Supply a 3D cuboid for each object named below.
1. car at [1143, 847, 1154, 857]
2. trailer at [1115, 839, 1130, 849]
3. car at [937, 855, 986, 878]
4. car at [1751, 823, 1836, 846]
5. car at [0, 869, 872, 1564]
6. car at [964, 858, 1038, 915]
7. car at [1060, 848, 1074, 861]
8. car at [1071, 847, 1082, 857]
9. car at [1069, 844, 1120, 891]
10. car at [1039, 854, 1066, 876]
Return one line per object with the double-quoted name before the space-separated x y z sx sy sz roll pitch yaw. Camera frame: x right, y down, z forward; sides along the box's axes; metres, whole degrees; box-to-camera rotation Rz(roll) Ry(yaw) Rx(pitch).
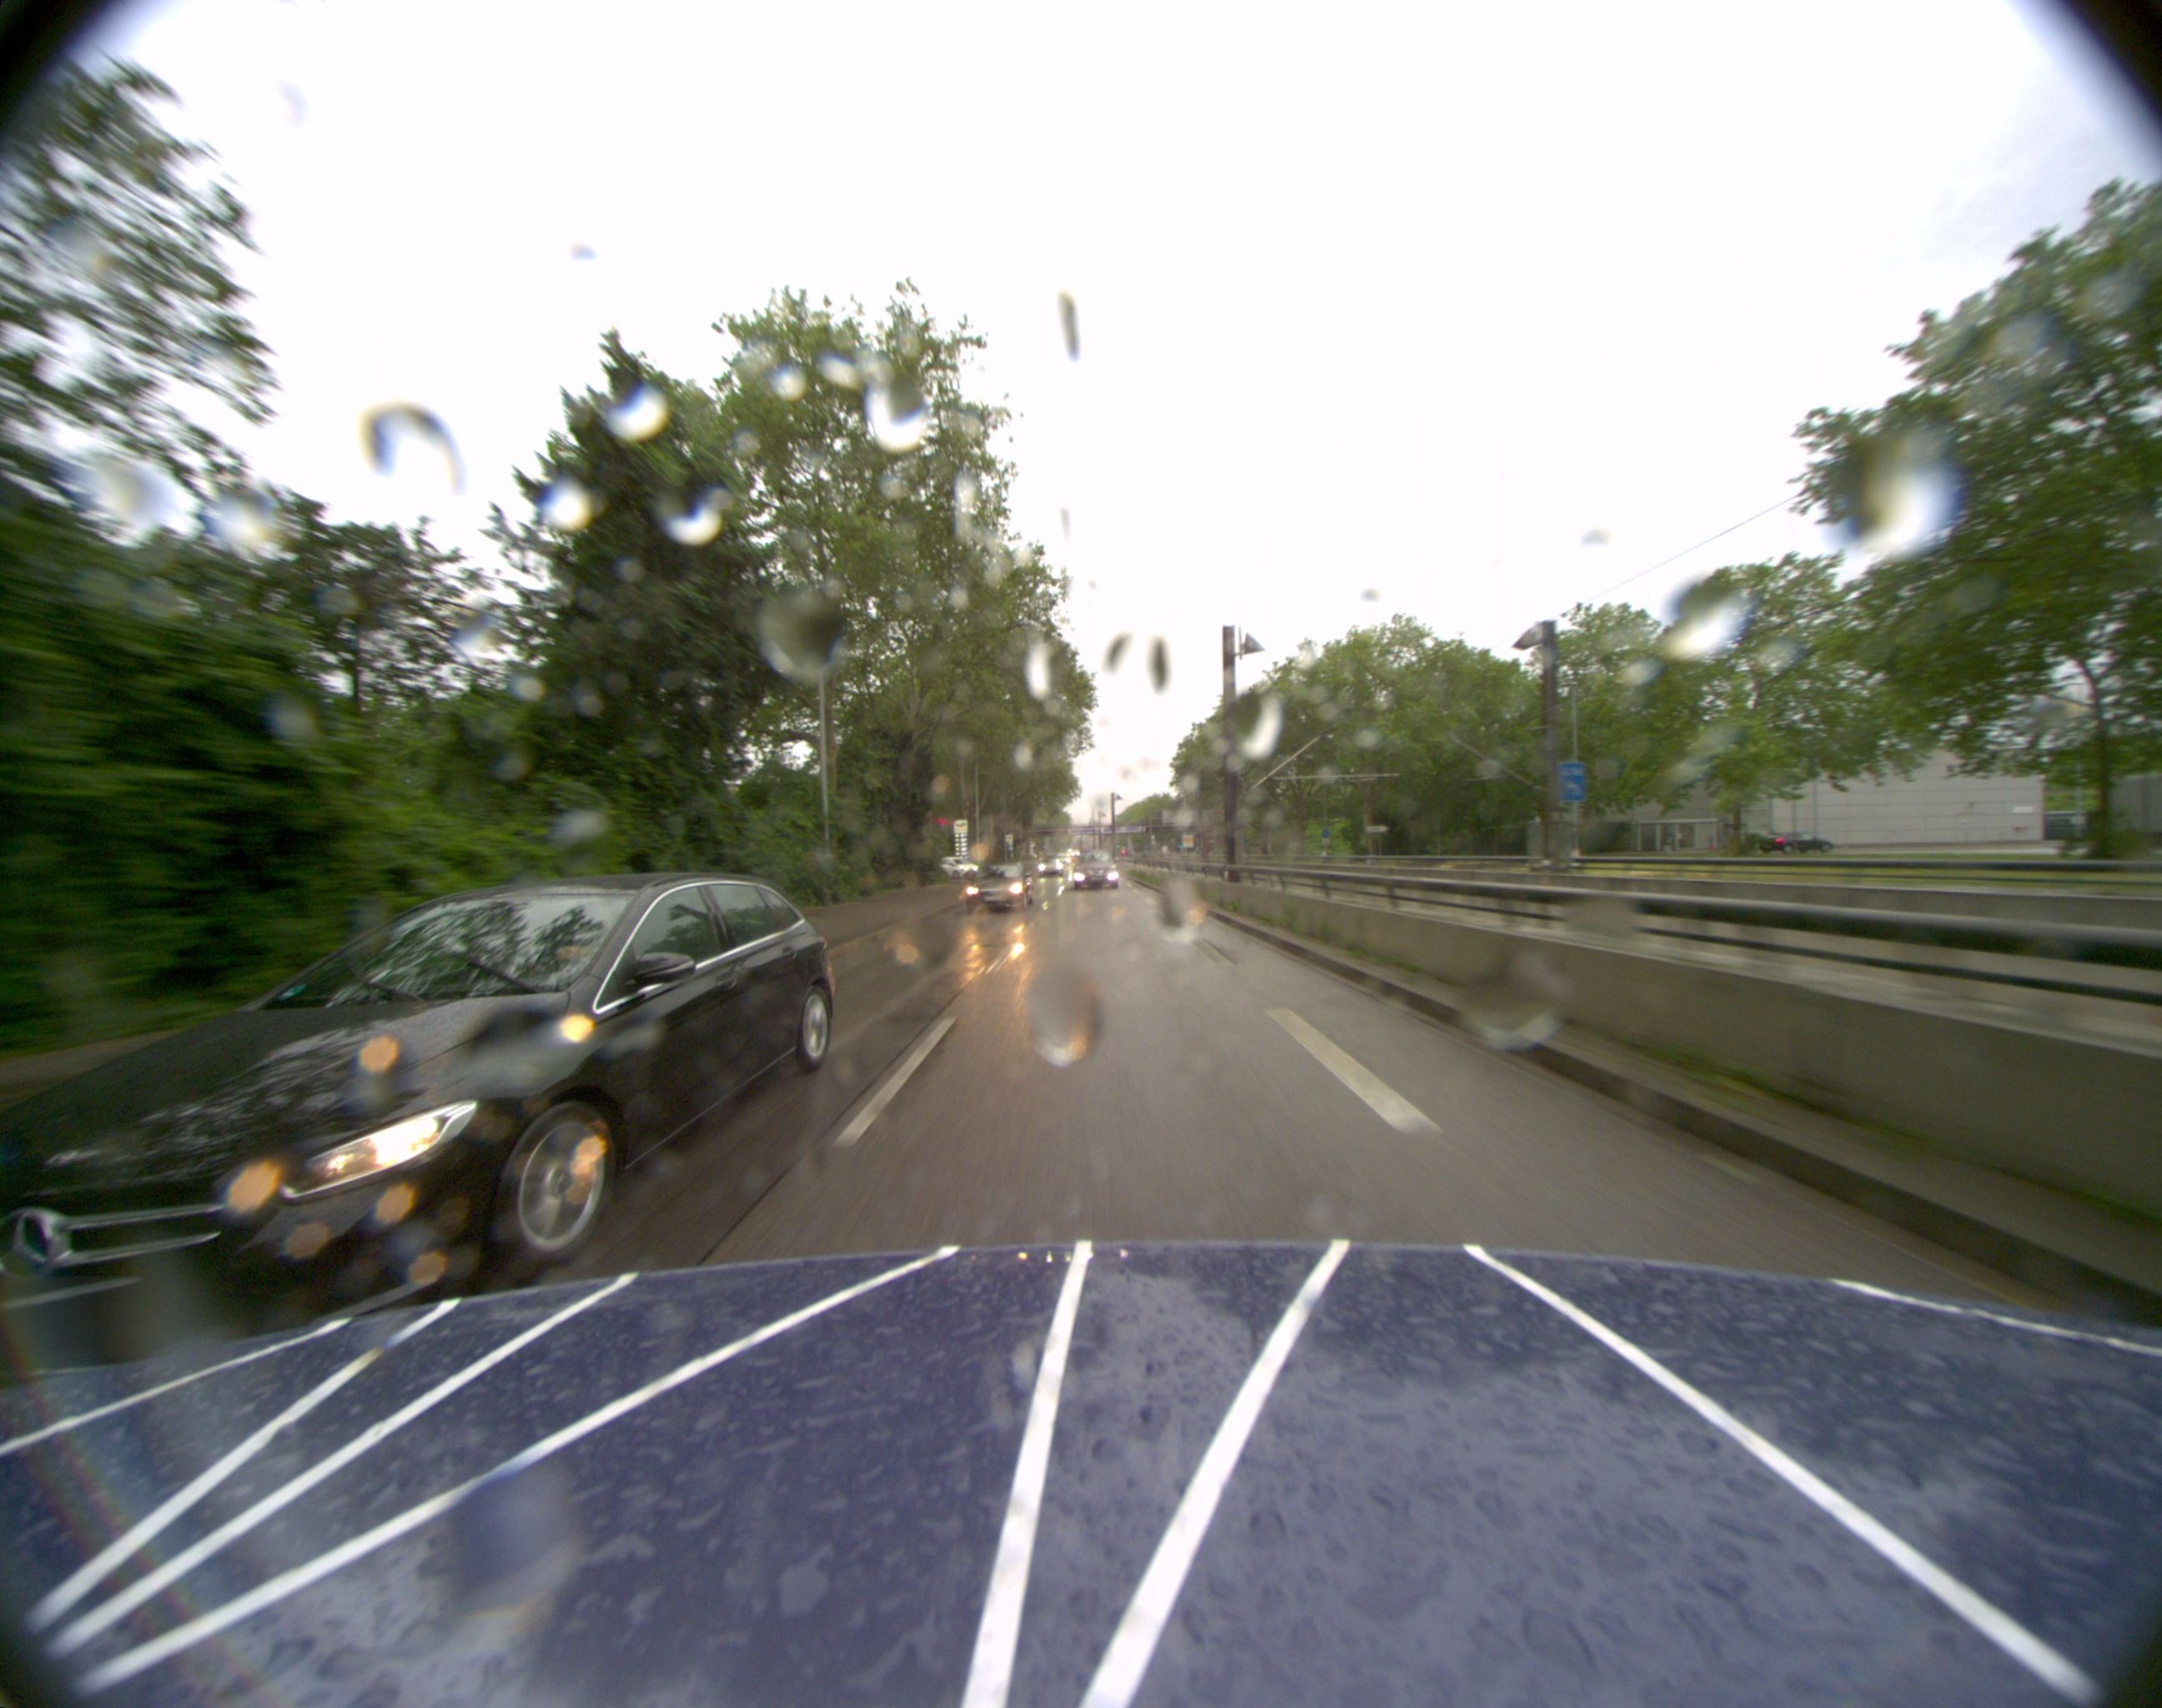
"car" 15.072 -0.507 170.061 1.999 2.002 4.509 -3 1 -1
"trailer" 14.511 -3.411 265.576 3.332 3.241 11.116 -4 1 -5
"car" -8.188 0.842 51.833 1.611 1.423 3.547 -4 1 -41
"car" 49.008 -1.328 52.316 3.788 1.395 2.001 -2 1 9
"car" -2.820 0.969 4.075 1.820 1.521 4.422 -3 1 4
"car" -2.316 0.906 22.765 1.641 1.377 3.781 -3 1 2
"car" -1.920 0.021 105.301 1.869 1.689 4.425 -2 0 -1
"car" -0.812 -0.377 140.241 1.869 1.689 4.158 -2 0 -1
"car" 0.623 0.554 32.599 1.975 1.794 4.159 -3 0 2
"car" -2.087 0.766 56.086 1.821 1.521 4.158 -2 0 0
